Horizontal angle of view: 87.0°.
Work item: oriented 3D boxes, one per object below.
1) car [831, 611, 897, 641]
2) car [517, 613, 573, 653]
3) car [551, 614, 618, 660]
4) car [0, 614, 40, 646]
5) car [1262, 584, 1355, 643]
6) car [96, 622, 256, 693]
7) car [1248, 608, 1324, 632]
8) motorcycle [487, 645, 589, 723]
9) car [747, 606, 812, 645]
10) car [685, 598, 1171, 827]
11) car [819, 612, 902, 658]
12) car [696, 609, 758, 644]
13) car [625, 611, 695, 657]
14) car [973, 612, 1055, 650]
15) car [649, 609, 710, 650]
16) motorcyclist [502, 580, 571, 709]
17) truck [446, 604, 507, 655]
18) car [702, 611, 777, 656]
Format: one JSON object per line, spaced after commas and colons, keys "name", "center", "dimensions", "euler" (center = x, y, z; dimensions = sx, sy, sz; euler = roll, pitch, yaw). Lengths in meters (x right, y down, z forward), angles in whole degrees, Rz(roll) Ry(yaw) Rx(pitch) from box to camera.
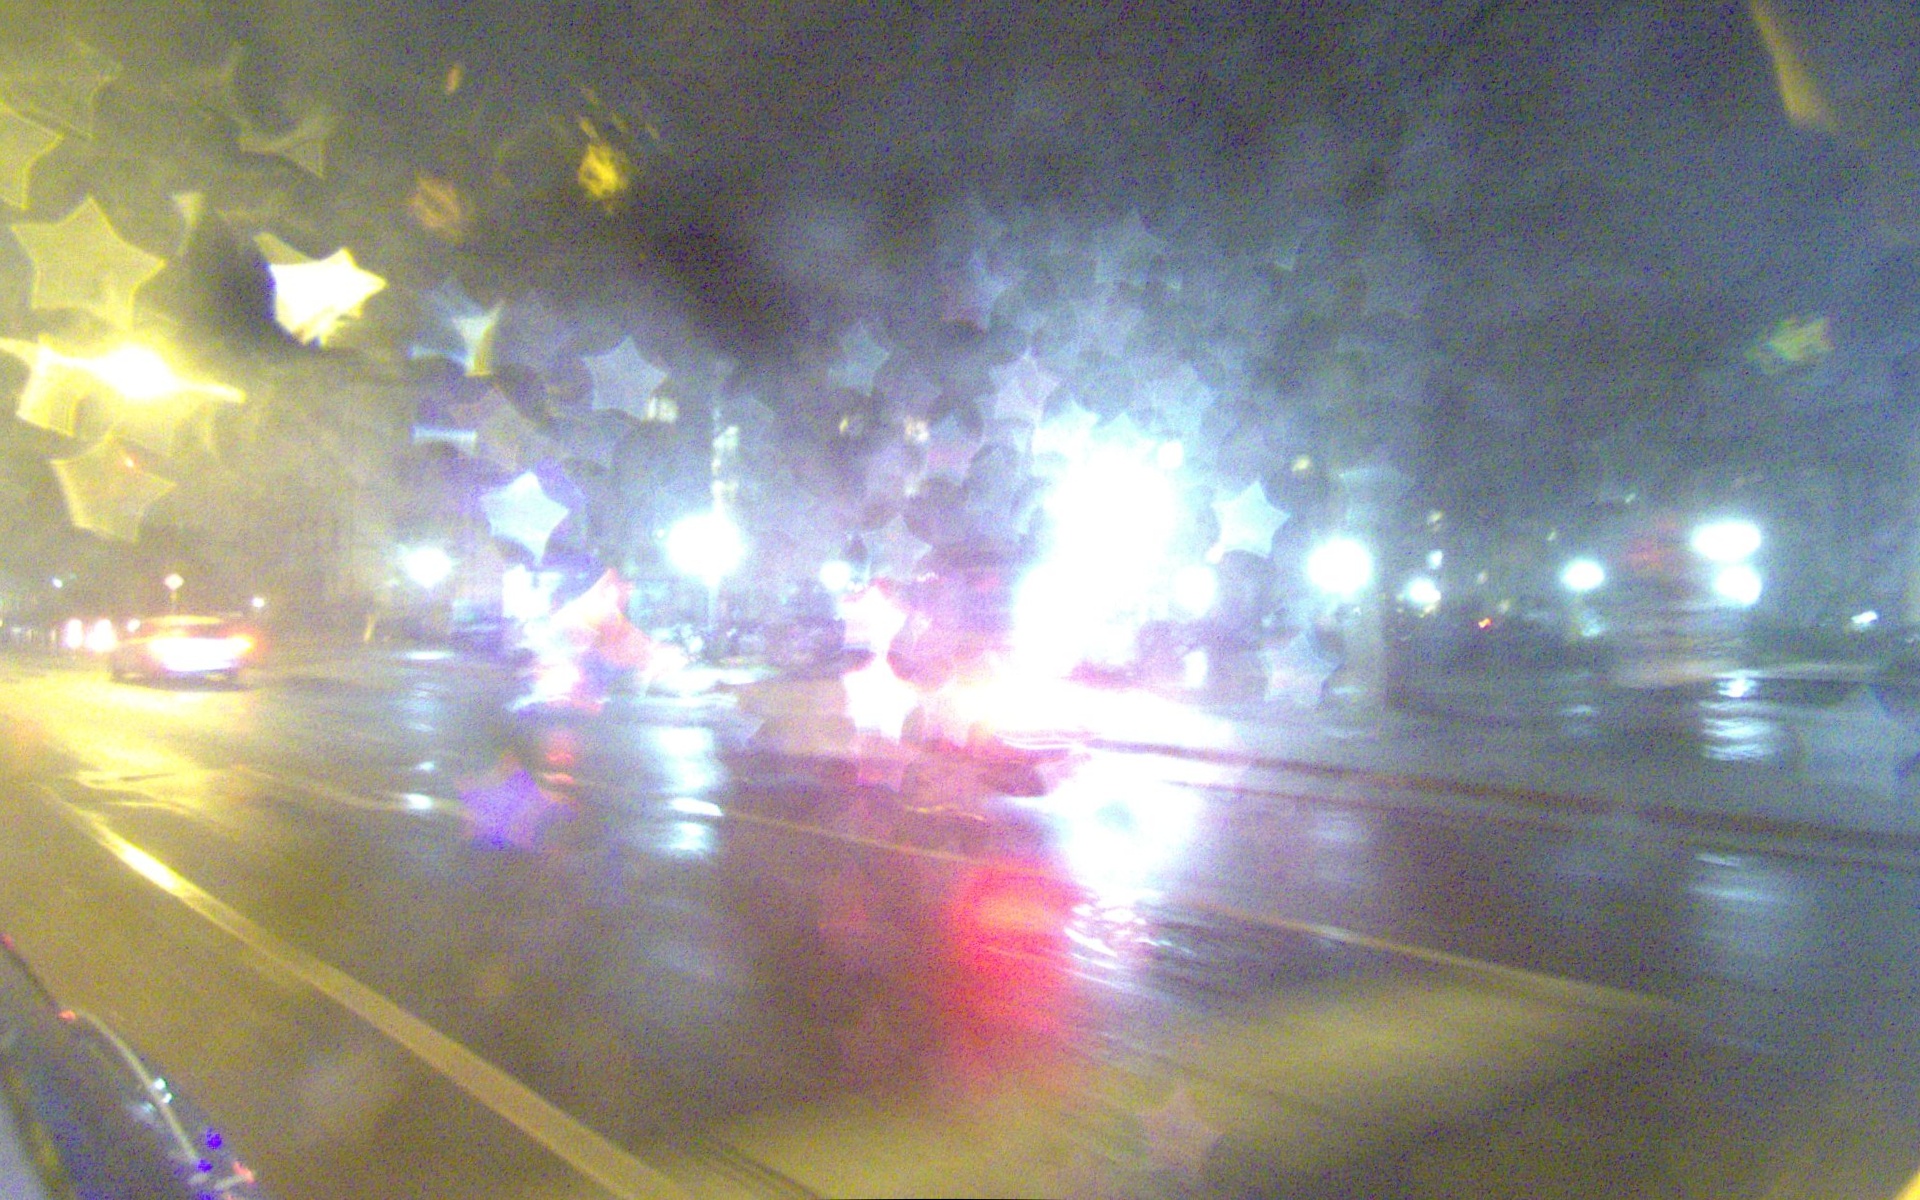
{"name": "car", "center": [-5.003, 1.303, 52.141], "dimensions": [1.838, 1.454, 4.508], "euler": [0, -1, -28]}
{"name": "car", "center": [-18.118, 1.398, 44.052], "dimensions": [1.838, 1.625, 4.508], "euler": [0, -1, -28]}
{"name": "car", "center": [-12.828, 1.212, 34.472], "dimensions": [1.689, 1.442, 3.931], "euler": [0, -1, -27]}
{"name": "car", "center": [-49.662, 1.566, 53.222], "dimensions": [4.381, 1.576, 1.580], "euler": [-1, -4, 45]}
{"name": "car", "center": [17.066, 0.665, 49.721], "dimensions": [1.689, 2.752, 4.369], "euler": [0, -1, -27]}
{"name": "car", "center": [-18.444, 1.289, 23.730], "dimensions": [4.762, 1.511, 1.835], "euler": [-1, -2, 38]}
{"name": "car", "center": [20.192, 1.234, 62.835], "dimensions": [1.838, 1.454, 4.508], "euler": [0, -1, -28]}
{"name": "motorcycle", "center": [-6.899, 1.324, 16.486], "dimensions": [2.175, 1.147, 0.693], "euler": [-1, -2, 43]}
{"name": "car", "center": [-8.798, 1.202, 49.146], "dimensions": [1.838, 1.773, 4.508], "euler": [0, -1, -28]}
{"name": "car", "center": [-0.422, 0.826, 8.710], "dimensions": [4.104, 1.523, 1.629], "euler": [-1, -4, 39]}
{"name": "car", "center": [-3.689, 1.226, 36.839], "dimensions": [1.689, 1.532, 3.931], "euler": [0, -1, -27]}
{"name": "car", "center": [-11.238, 1.228, 48.548], "dimensions": [1.838, 1.625, 4.508], "euler": [0, -1, -28]}
{"name": "car", "center": [-10.607, 1.152, 35.622], "dimensions": [1.689, 1.532, 3.931], "euler": [0, -1, -27]}
{"name": "car", "center": [2.217, 1.254, 42.302], "dimensions": [1.689, 1.532, 3.931], "euler": [0, -1, -27]}
{"name": "car", "center": [-13.067, 1.317, 46.967], "dimensions": [1.838, 1.808, 4.508], "euler": [0, -1, -28]}
{"name": "motorcyclist", "center": [-6.897, 0.710, 16.489], "dimensions": [0.982, 2.029, 0.685], "euler": [-1, -2, 43]}
{"name": "truck", "center": [-20.571, 1.228, 42.937], "dimensions": [2.093, 2.029, 5.279], "euler": [0, -1, -28]}
{"name": "car", "center": [-7.996, 1.164, 36.463], "dimensions": [1.689, 1.532, 3.931], "euler": [0, -1, -27]}
